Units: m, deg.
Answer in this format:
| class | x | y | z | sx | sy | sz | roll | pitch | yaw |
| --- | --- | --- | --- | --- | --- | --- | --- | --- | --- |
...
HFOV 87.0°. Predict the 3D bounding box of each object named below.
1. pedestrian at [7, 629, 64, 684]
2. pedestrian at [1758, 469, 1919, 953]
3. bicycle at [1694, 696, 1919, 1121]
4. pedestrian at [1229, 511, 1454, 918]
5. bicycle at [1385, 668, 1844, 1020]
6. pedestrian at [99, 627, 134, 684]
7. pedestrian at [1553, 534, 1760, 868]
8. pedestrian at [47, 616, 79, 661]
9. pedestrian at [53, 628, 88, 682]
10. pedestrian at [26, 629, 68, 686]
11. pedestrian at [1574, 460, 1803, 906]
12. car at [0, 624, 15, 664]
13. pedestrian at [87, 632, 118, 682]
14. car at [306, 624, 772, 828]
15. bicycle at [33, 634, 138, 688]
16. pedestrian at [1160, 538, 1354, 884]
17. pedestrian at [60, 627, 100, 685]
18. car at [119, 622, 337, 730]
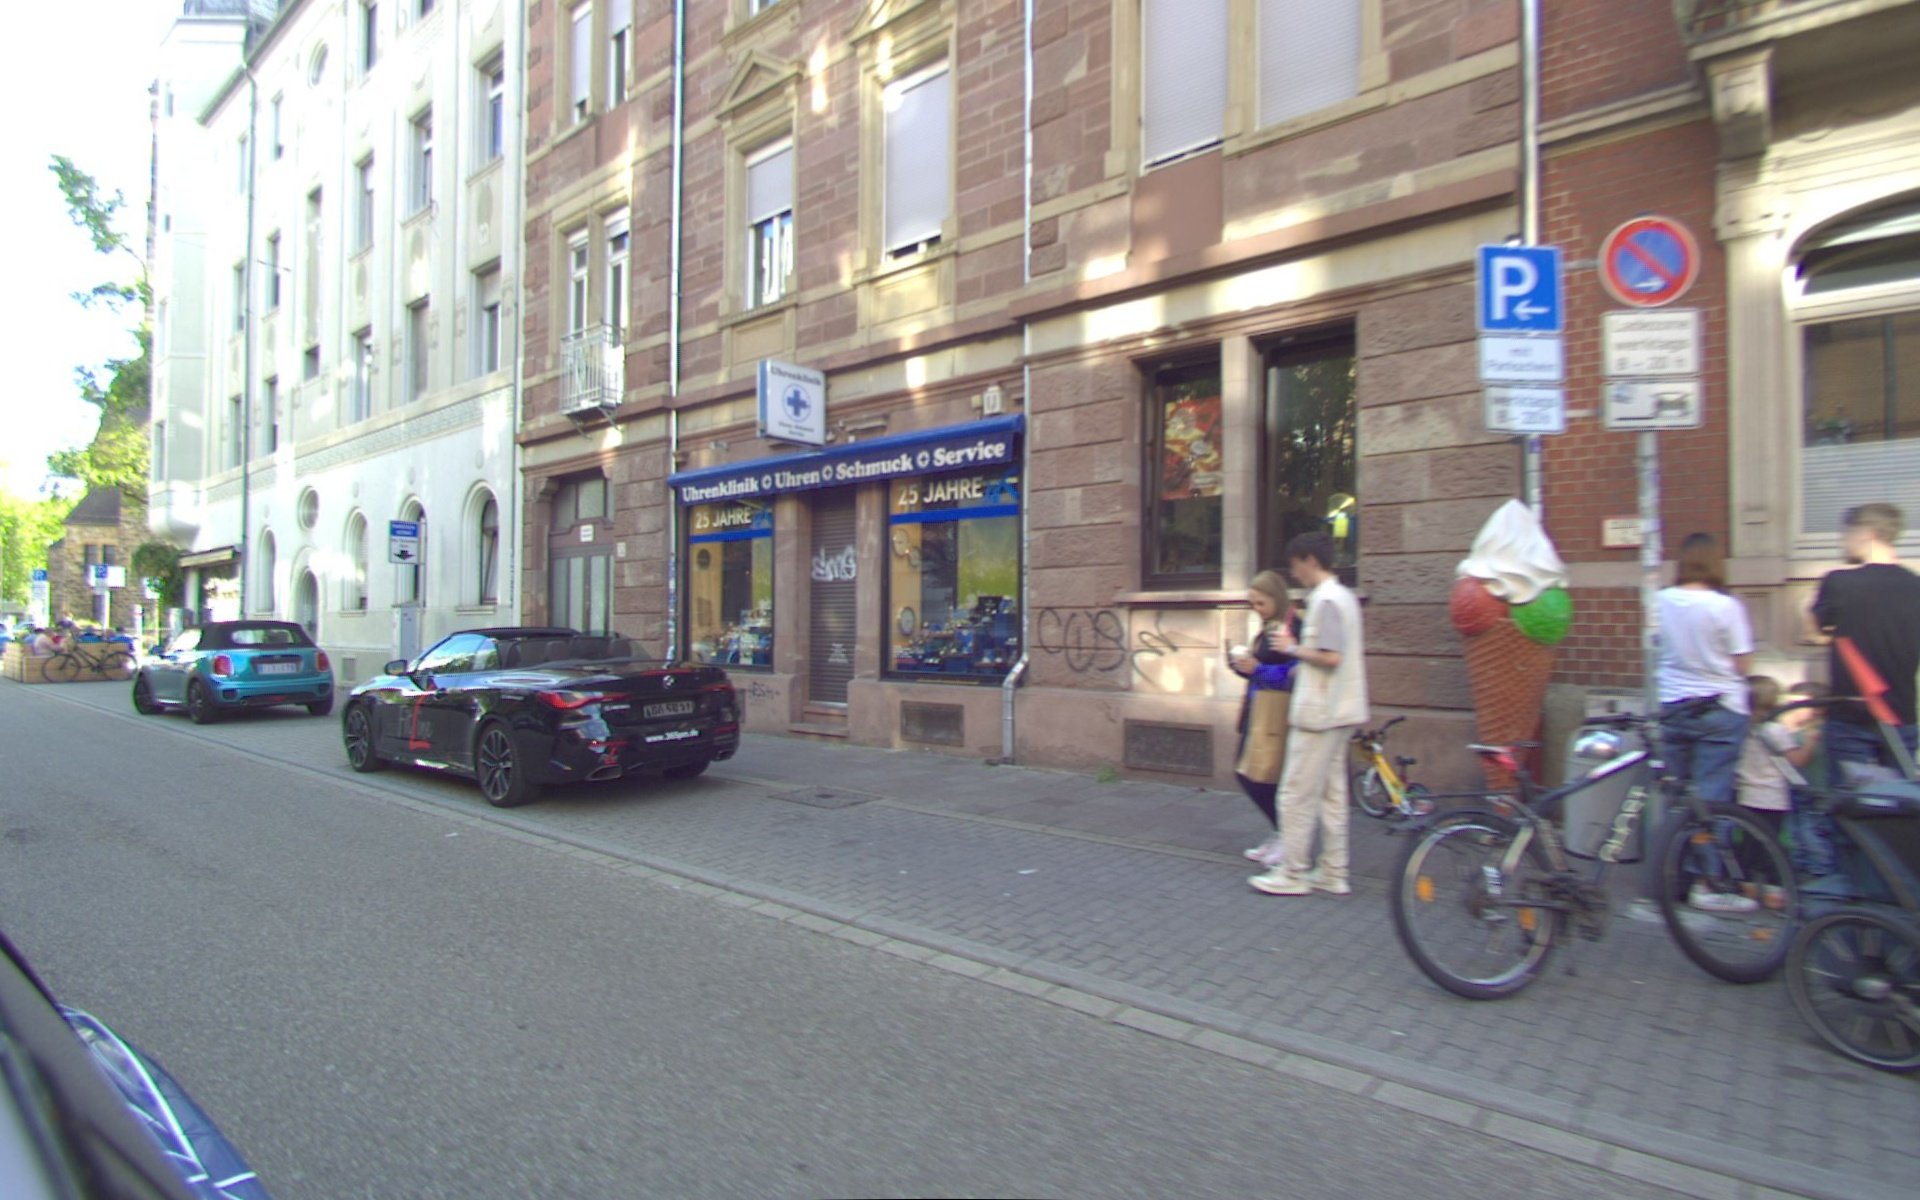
| class | x | y | z | sx | sy | sz | roll | pitch | yaw |
| --- | --- | --- | --- | --- | --- | --- | --- | --- | --- |
| pedestrian | -24.283 | 1.472 | 26.610 | 1.073 | 1.383 | 0.896 | 0 | -1 | -41 |
| pedestrian | 3.995 | 0.439 | 4.346 | 0.637 | 1.906 | 0.603 | -1 | -1 | -19 |
| bicycle | 3.093 | 0.890 | 3.328 | 1.658 | 1.038 | 0.410 | 0 | -1 | -29 |
| pedestrian | 1.861 | 0.514 | 4.999 | 0.750 | 1.832 | 0.668 | -1 | -1 | -19 |
| bicycle | 2.398 | 0.841 | 3.726 | 1.556 | 1.125 | 0.375 | -1 | -1 | -10 |
| pedestrian | -21.086 | 1.373 | 25.297 | 0.684 | 1.383 | 0.628 | -2 | -1 | 45 |
| pedestrian | 3.974 | 0.535 | 5.806 | 0.678 | 1.773 | 0.668 | -1 | -1 | -19 |
| pedestrian | -35.524 | 1.521 | 40.069 | 0.879 | 1.722 | 0.834 | -2 | -1 | 41 |
| pedestrian | -22.644 | 1.380 | 25.751 | 0.658 | 1.346 | 0.740 | 0 | -1 | -42 |
| pedestrian | -22.392 | 1.393 | 24.820 | 0.644 | 1.359 | 0.729 | -2 | -1 | 43 |
| pedestrian | 3.587 | 0.378 | 5.014 | 0.634 | 2.029 | 0.632 | 0 | -1 | -21 |
| car | -38.477 | 1.727 | 39.570 | 4.168 | 1.497 | 1.804 | -1 | -1 | 41 |
| pedestrian | -22.164 | 1.454 | 26.145 | 0.589 | 1.253 | 0.694 | 0 | -1 | -42 |
| car | -4.048 | 0.918 | 9.198 | 5.111 | 1.361 | 1.793 | -1 | -1 | 40 |
| bicycle | -20.800 | 1.432 | 24.099 | 0.687 | 1.184 | 1.848 | -2 | -1 | 42 |
| pedestrian | 1.636 | 0.570 | 5.642 | 0.750 | 1.773 | 0.668 | -1 | -1 | -19 |
| pedestrian | -21.605 | 1.363 | 24.852 | 0.740 | 1.383 | 0.680 | -2 | -1 | 45 |
| car | -11.282 | 1.076 | 15.503 | 4.006 | 1.426 | 1.654 | -1 | -1 | 38 |
